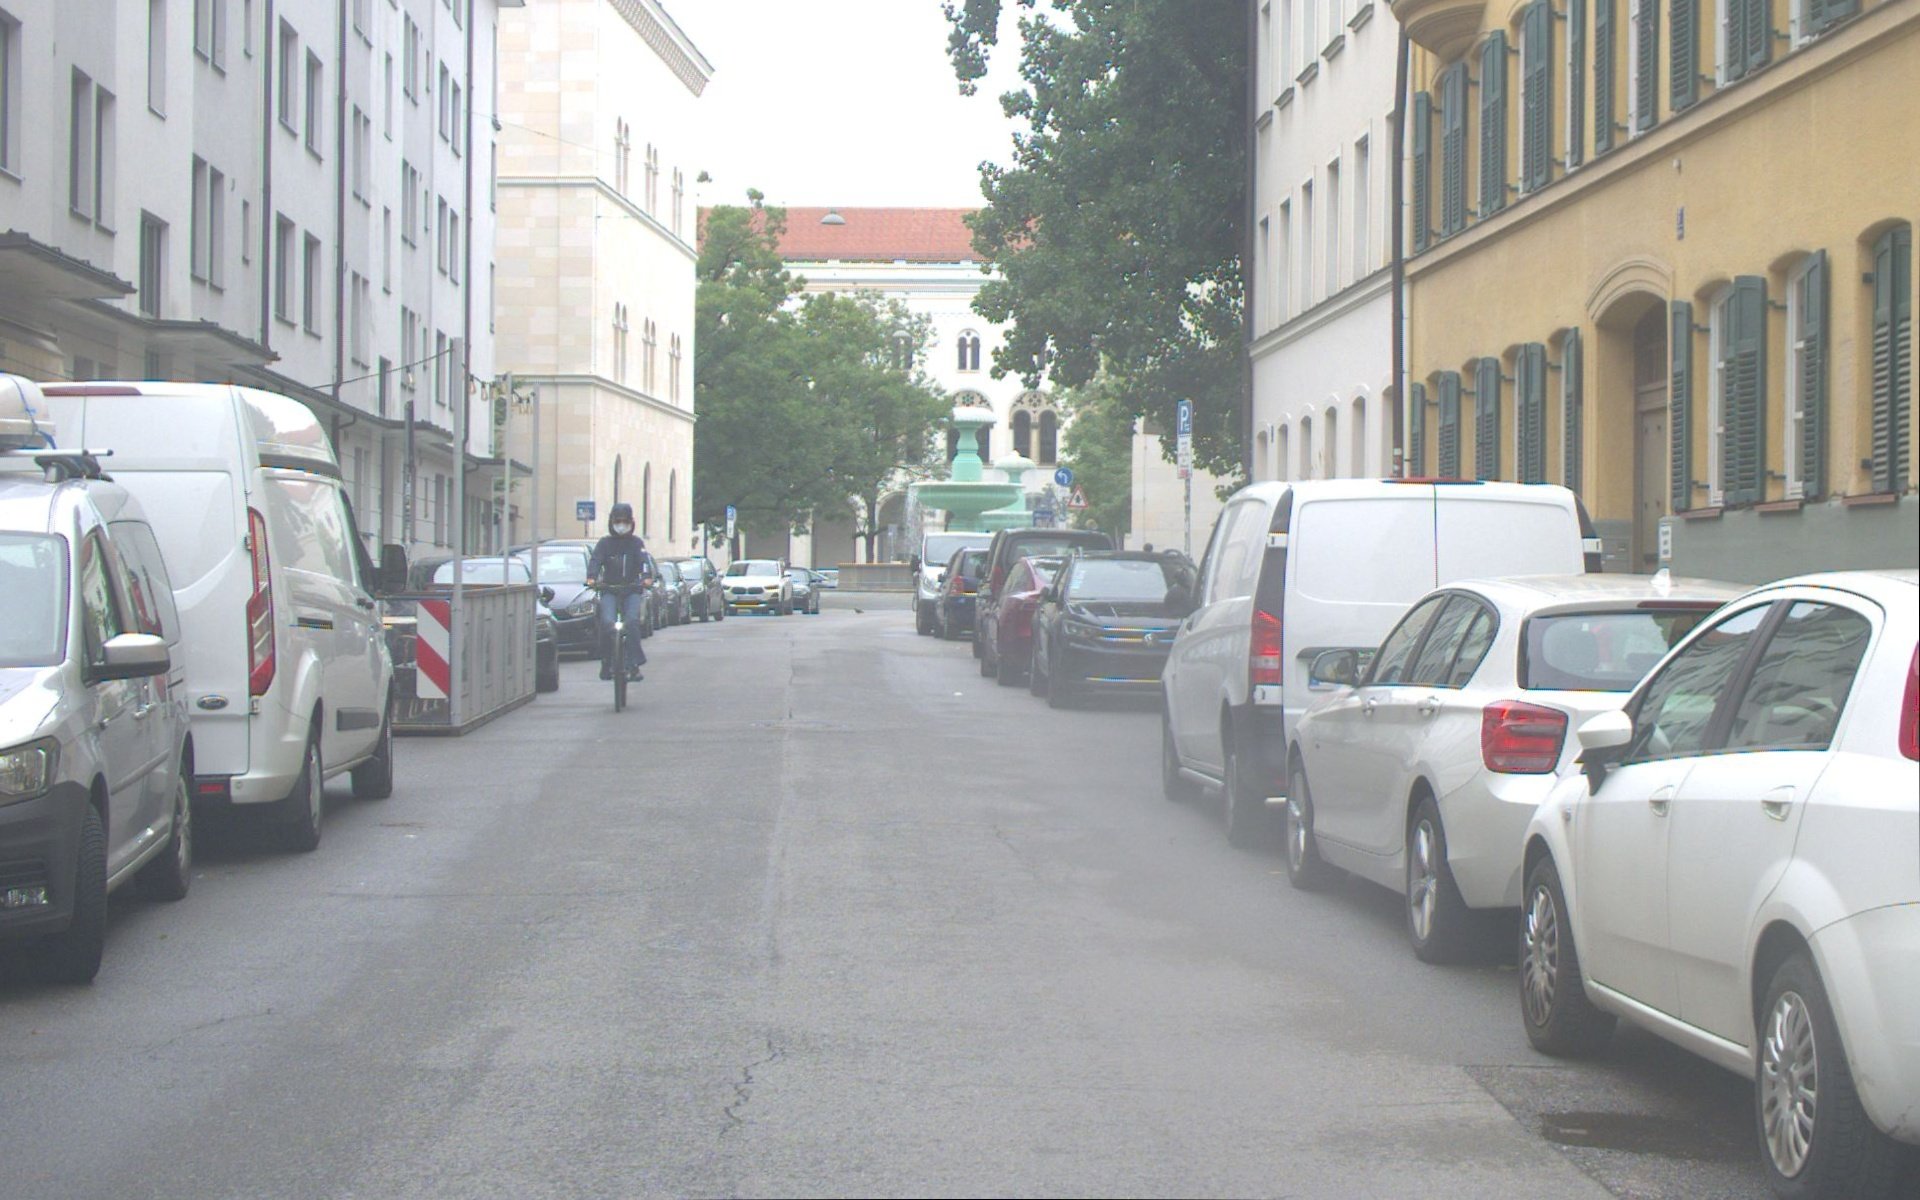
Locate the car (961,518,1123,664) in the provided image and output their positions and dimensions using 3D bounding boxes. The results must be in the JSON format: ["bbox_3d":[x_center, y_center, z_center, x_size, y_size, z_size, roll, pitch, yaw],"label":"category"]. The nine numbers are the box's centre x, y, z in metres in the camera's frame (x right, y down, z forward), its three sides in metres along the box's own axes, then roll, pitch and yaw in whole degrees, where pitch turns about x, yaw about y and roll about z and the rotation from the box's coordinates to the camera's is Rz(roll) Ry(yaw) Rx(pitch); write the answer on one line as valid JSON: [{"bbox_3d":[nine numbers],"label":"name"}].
[{"bbox_3d":[1.043,-0.128,45.794,1.846,1.770,4.201,3,0,-2],"label":"car"}]

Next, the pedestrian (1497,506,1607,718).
[{"bbox_3d":[4.697,0.085,27.291,0.596,1.633,0.896,-3,1,-4],"label":"pedestrian"}]

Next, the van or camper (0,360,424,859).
[{"bbox_3d":[-4.235,-0.006,18.649,1.993,2.303,5.479,0,1,-2],"label":"van or camper"}]

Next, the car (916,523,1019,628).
[{"bbox_3d":[0.123,-0.483,65.982,1.882,1.918,4.875,1,1,0],"label":"car"}]

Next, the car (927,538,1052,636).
[{"bbox_3d":[0.470,-0.250,59.924,1.807,1.595,4.216,1,1,-4],"label":"car"}]

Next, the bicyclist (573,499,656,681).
[{"bbox_3d":[-3.150,-0.099,31.416,0.686,1.621,0.853,1,1,-4],"label":"bicyclist"}]

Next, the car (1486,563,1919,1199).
[{"bbox_3d":[2.584,0.674,9.024,1.623,1.504,3.762,0,1,-3],"label":"car"}]

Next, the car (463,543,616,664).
[{"bbox_3d":[-5.694,0.014,46.959,1.773,1.534,4.160,-1,1,-3],"label":"car"}]

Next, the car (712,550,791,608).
[{"bbox_3d":[-5.732,-0.557,95.058,1.778,1.529,4.211,-1,0,2],"label":"car"}]

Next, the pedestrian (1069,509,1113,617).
[{"bbox_3d":[2.680,-0.760,70.351,0.793,2.190,0.814,1,1,-3],"label":"pedestrian"}]

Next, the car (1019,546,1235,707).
[{"bbox_3d":[1.568,0.217,33.628,1.745,1.459,4.001,0,1,-2],"label":"car"}]

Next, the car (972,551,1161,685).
[{"bbox_3d":[1.154,0.168,39.070,1.713,1.419,4.458,1,1,-4],"label":"car"}]

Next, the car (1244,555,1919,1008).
[{"bbox_3d":[2.426,0.590,13.946,1.815,1.504,4.588,0,1,-4],"label":"car"}]

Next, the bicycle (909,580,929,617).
[{"bbox_3d":[-1.355,-0.055,114.749,0.648,1.193,1.950,0,0,0],"label":"bicycle"}]

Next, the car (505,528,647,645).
[{"bbox_3d":[-5.832,-0.251,52.589,1.872,1.682,4.521,-1,1,-3],"label":"car"}]

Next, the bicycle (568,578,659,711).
[{"bbox_3d":[-3.144,0.386,31.318,0.732,1.147,2.000,1,1,-3],"label":"bicycle"}]

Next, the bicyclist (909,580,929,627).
[{"bbox_3d":[-1.364,0.111,114.722,0.657,1.545,0.887,0,0,0],"label":"bicyclist"}]

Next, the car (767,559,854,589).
[{"bbox_3d":[-7.106,-1.250,163.980,3.987,1.371,2.000,1,1,2],"label":"car"}]

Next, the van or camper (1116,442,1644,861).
[{"bbox_3d":[2.143,0.201,19.150,1.993,2.007,5.234,0,1,-3],"label":"van or camper"}]

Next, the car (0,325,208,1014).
[{"bbox_3d":[-4.014,0.165,13.110,1.857,2.194,4.562,1,1,-8],"label":"car"}]

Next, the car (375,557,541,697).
[{"bbox_3d":[-5.379,0.240,36.724,1.638,1.349,4.060,-1,1,-9],"label":"car"}]
